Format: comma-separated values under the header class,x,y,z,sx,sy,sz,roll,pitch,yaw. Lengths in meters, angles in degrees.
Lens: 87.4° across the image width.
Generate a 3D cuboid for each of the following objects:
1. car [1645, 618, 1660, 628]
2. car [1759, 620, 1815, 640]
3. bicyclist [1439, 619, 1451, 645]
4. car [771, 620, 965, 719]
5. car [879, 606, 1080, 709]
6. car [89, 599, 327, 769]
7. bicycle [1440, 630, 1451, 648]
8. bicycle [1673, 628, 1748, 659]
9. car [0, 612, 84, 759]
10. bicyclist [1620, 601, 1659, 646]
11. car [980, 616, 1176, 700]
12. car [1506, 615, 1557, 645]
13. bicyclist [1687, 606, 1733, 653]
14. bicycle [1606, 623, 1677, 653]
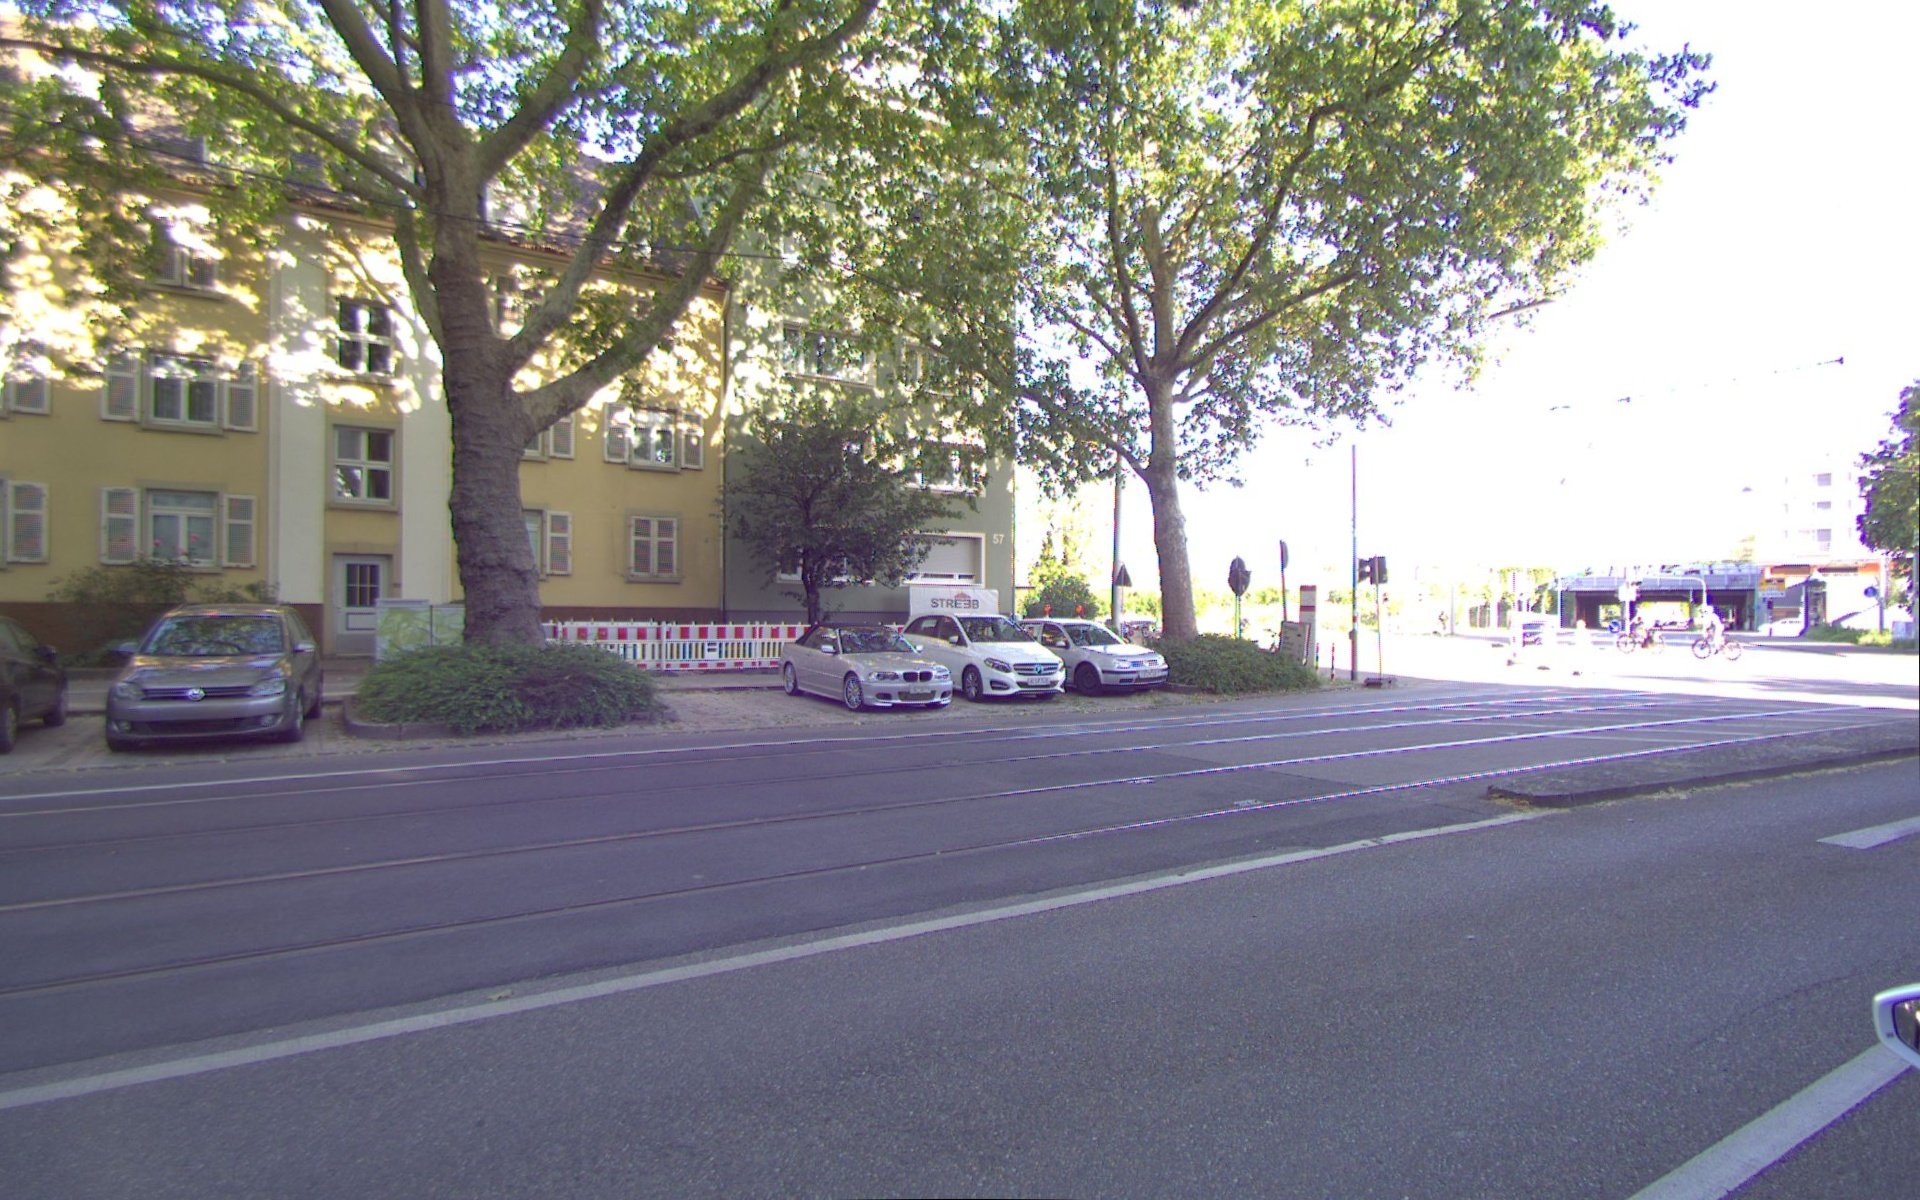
class,x,y,z,sx,sy,sz,roll,pitch,yaw
car,121.986,4.036,176.917,2.183,1.847,4.134,0,-1,34
car,79.904,2.905,97.104,4.125,1.829,1.729,-1,-1,40
bicyclist,30.440,2.007,63.053,0.625,1.584,0.832,0,-1,28
car,-1.732,1.094,17.434,1.708,1.386,4.219,1,0,-31
car,0.218,0.993,19.478,1.777,1.640,4.587,1,1,-30
car,-9.039,0.860,12.424,1.793,1.627,4.169,1,1,-29
bicycle,30.497,2.449,63.056,0.572,1.075,2.039,0,-1,27
bicycle,25.679,1.465,34.401,0.662,0.997,2.057,1,-1,-18
car,-11.396,0.881,11.296,1.723,1.448,3.545,1,0,-31
bicyclist,26.298,0.901,38.896,0.861,1.730,0.926,0,-1,-18
car,2.297,1.108,20.823,1.656,1.448,4.490,1,0,-30
car,32.427,1.680,56.941,1.803,1.539,3.876,2,1,40
bicyclist,25.679,1.000,34.405,0.786,1.591,1.009,0,-1,-18
bicycle,26.312,1.465,38.840,0.788,1.098,2.292,0,-1,-17
